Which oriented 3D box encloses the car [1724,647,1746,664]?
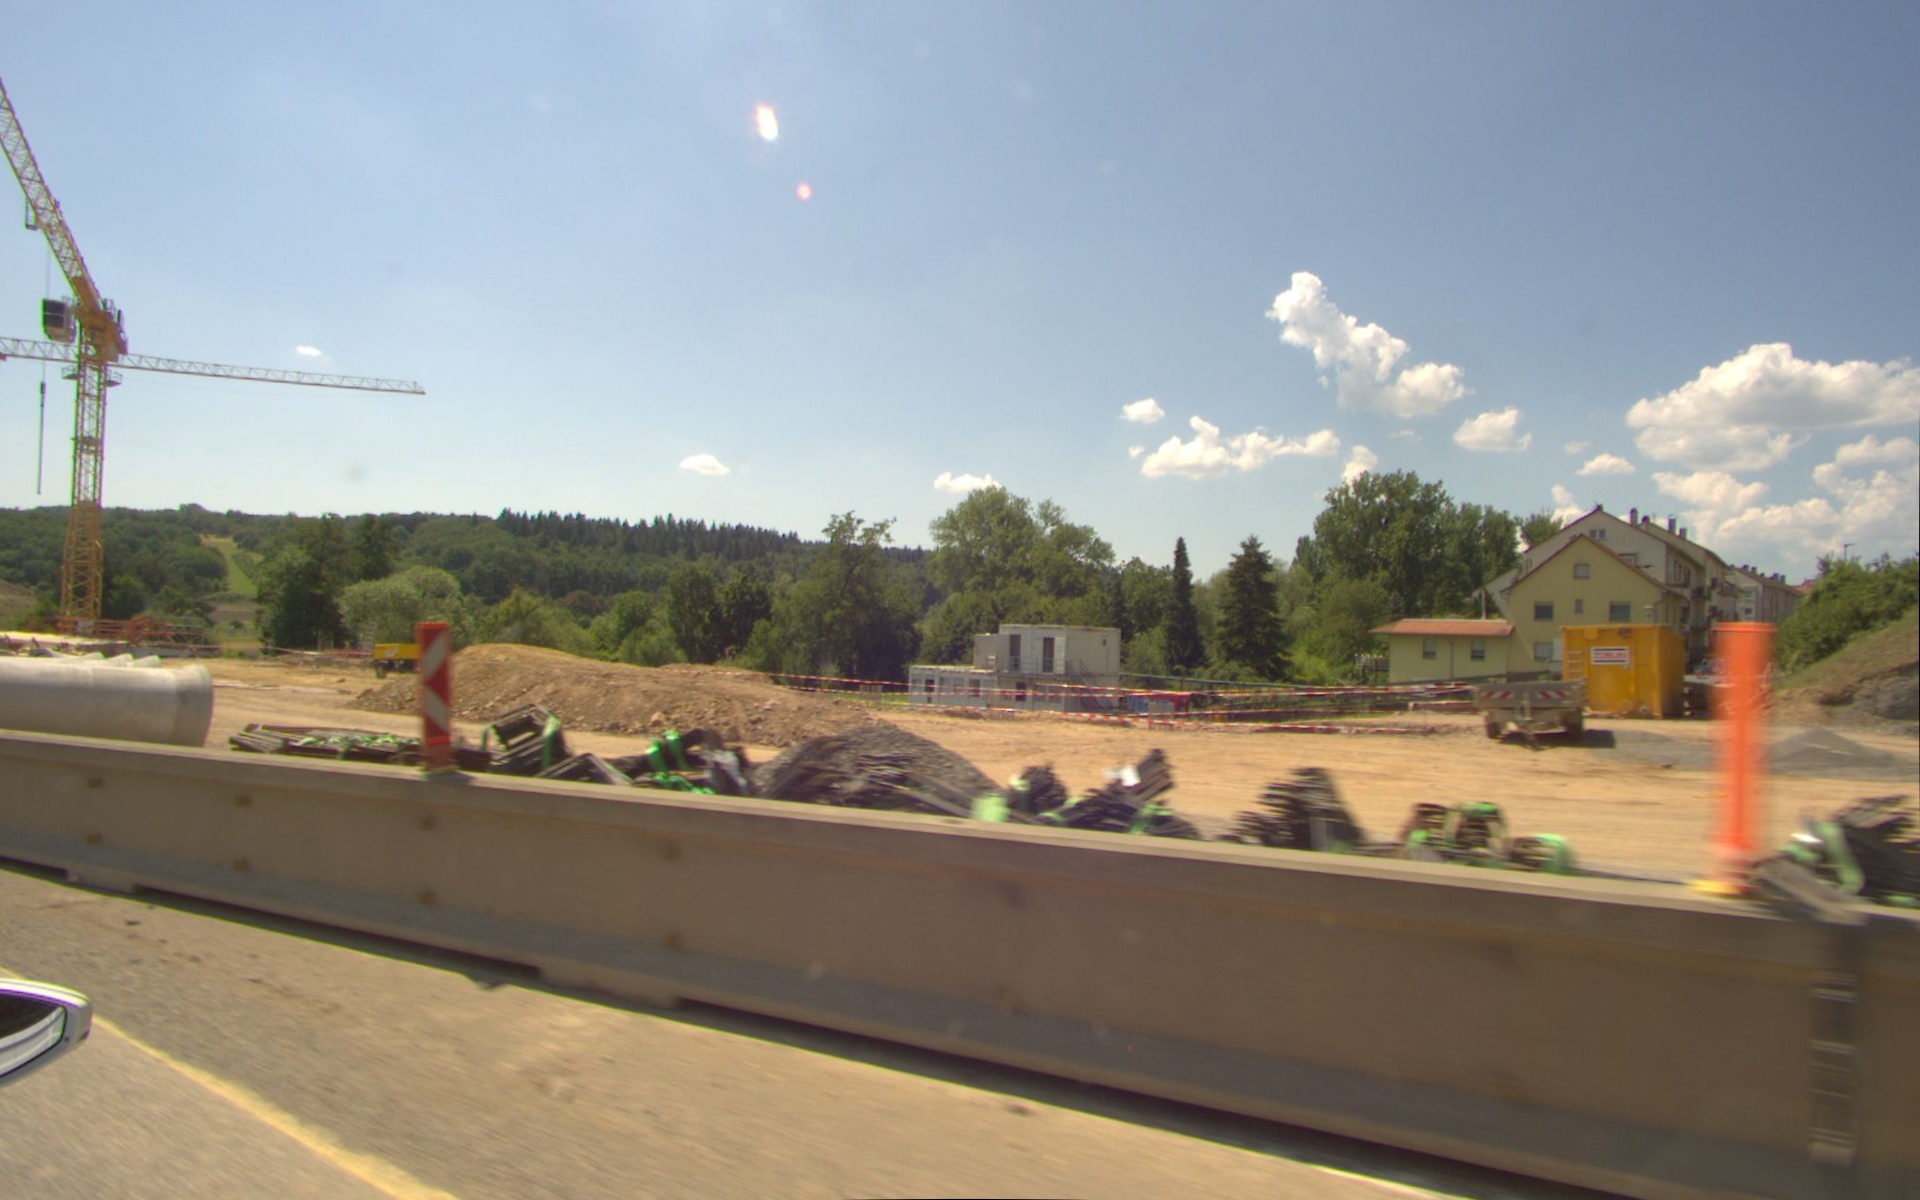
[{"bbox_3d":[75.661,5.397,97.831,1.559,1.526,3.975,-3,-4,37],"label":"car"}]

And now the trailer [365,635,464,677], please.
[{"bbox_3d":[-21.059,2.137,38.605,3.769,1.504,1.622,-1,-3,31],"label":"trailer"}]

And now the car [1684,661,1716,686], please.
[{"bbox_3d":[48.590,4.816,65.740,1.559,1.526,4.141,-3,-4,37],"label":"car"}]

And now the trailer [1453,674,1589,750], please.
[{"bbox_3d":[11.489,2.190,20.350,2.028,1.234,4.704,-3,-4,33],"label":"trailer"}]

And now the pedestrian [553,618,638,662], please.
[{"bbox_3d":[-17.920,1.980,49.159,3.945,2.038,1.990,-3,-3,33],"label":"pedestrian"}]
